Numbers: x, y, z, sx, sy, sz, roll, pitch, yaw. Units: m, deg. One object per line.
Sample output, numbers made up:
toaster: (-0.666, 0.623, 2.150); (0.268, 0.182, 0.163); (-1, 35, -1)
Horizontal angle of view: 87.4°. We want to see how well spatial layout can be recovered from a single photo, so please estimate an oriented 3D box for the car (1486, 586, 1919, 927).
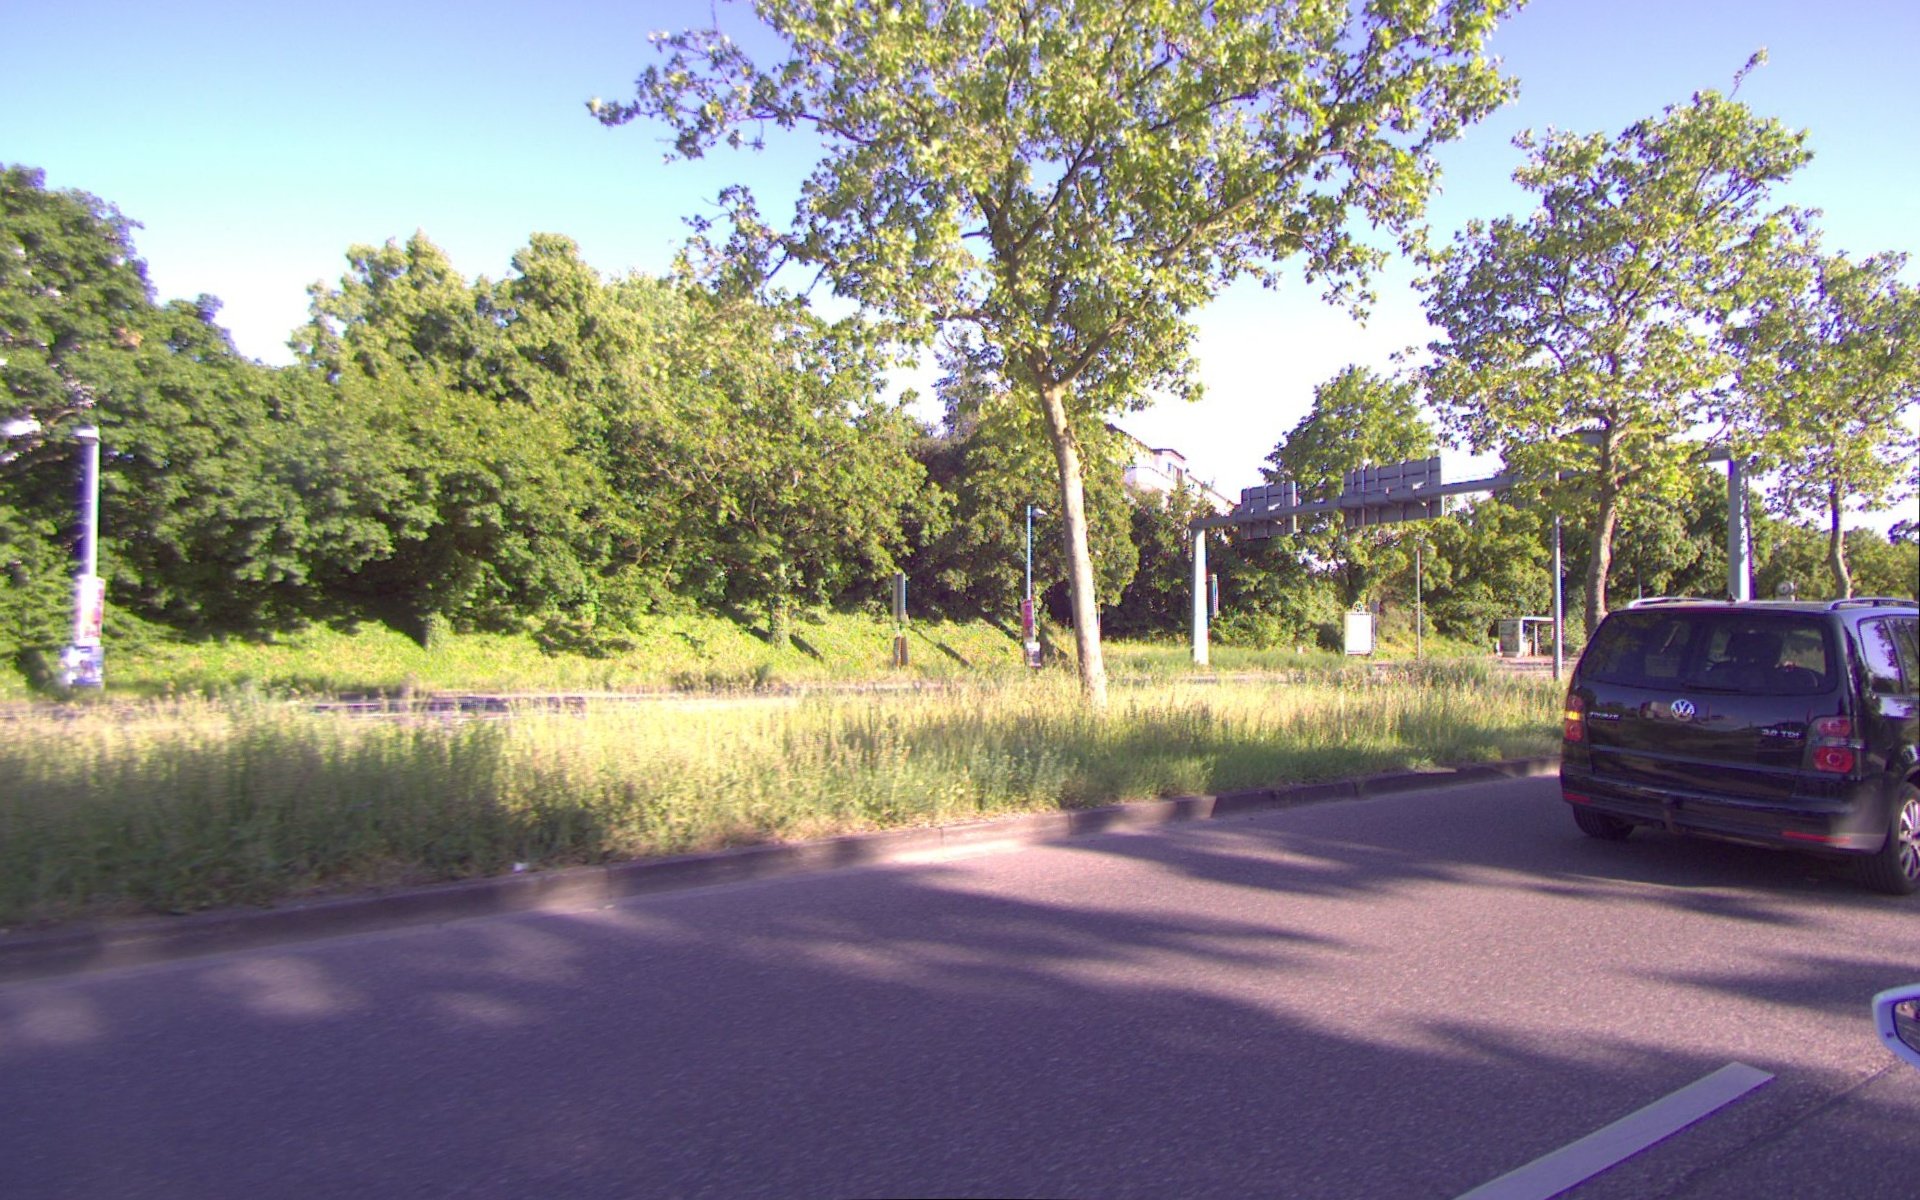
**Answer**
car: (5.899, 0.821, 6.939); (4.867, 1.666, 1.759); (1, -1, -31)
